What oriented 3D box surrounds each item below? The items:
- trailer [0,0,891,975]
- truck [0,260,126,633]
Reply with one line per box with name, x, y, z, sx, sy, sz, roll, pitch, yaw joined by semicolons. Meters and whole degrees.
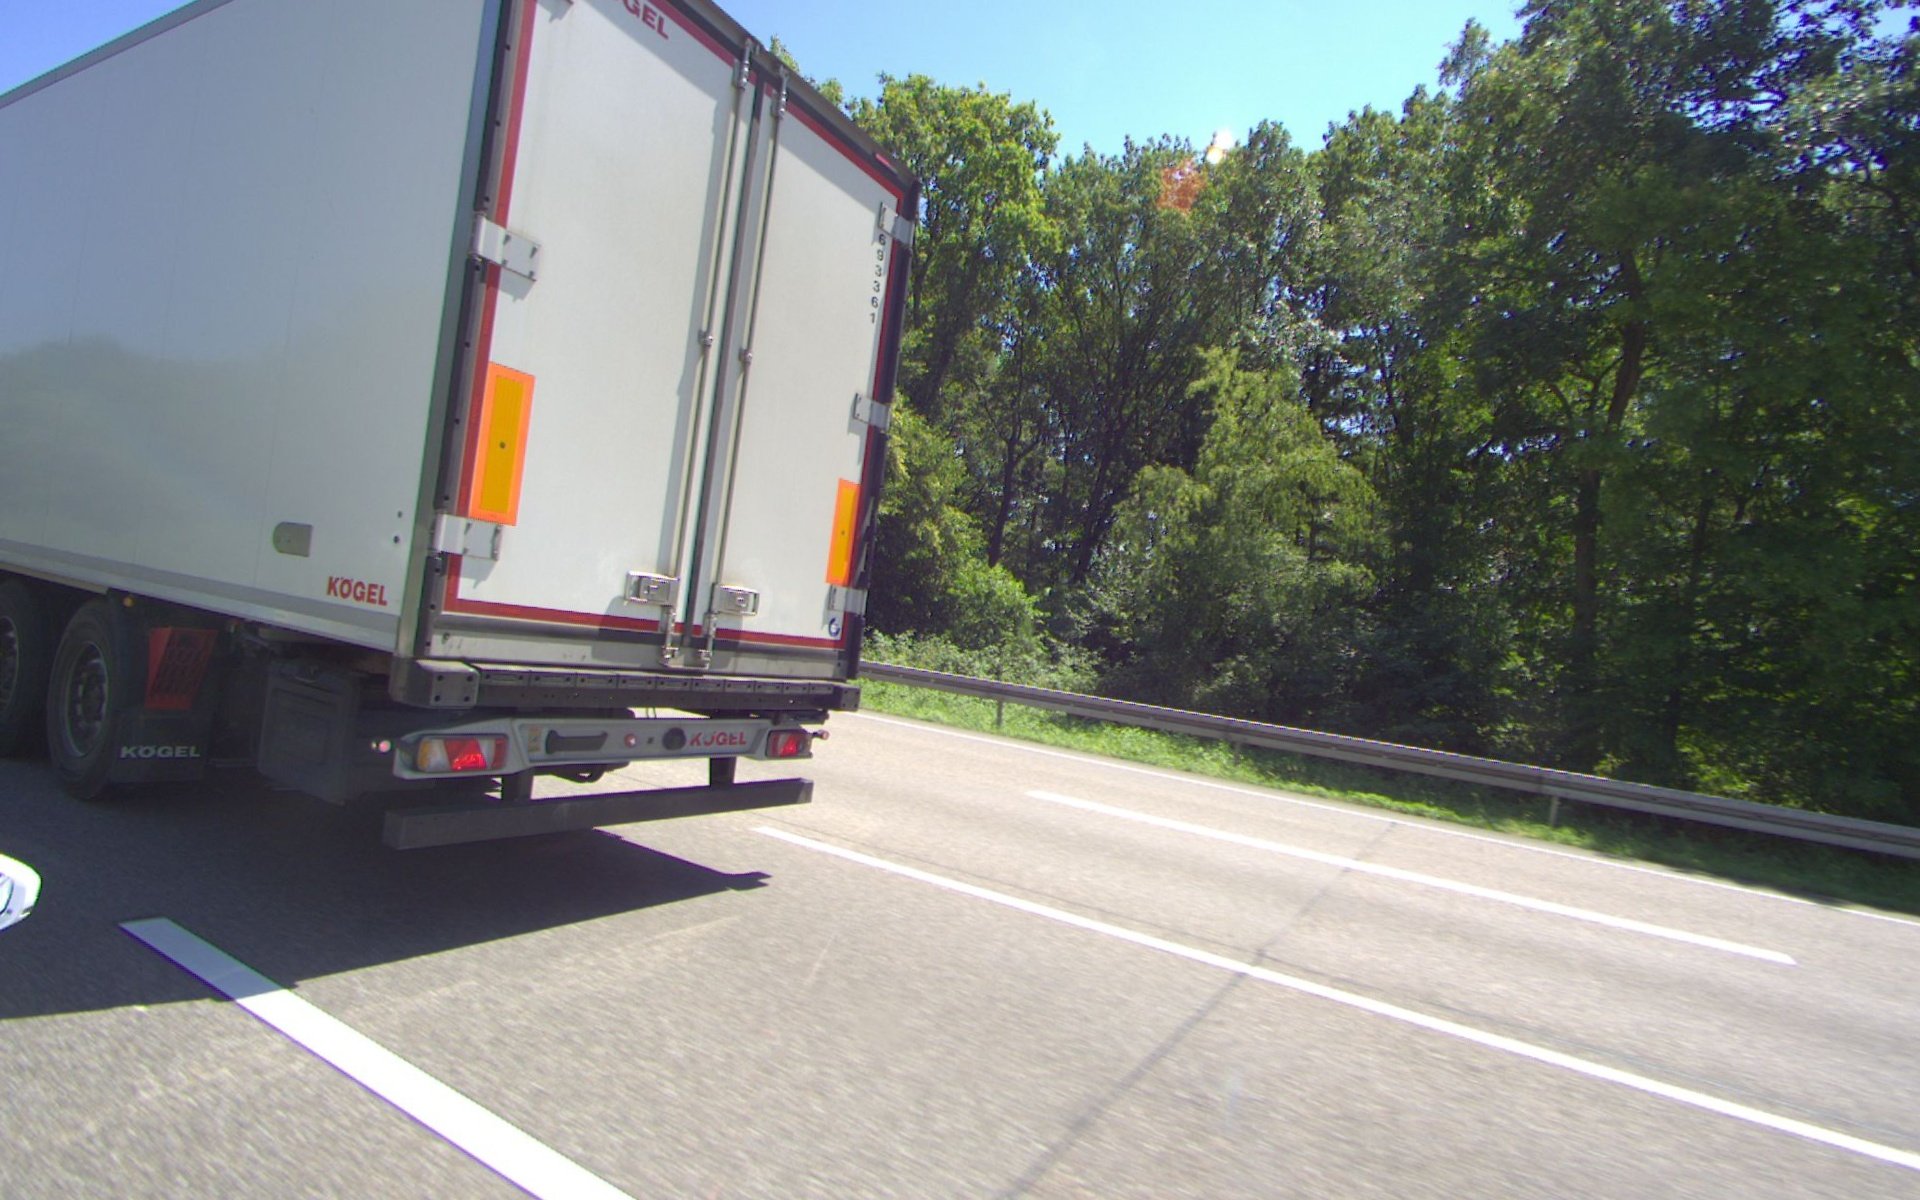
trailer;-6.624;-1.239;8.096;12.146;4.194;3.228;7;0;32
truck;-13.284;-2.039;12.258;4.484;4.208;3.233;7;0;32
